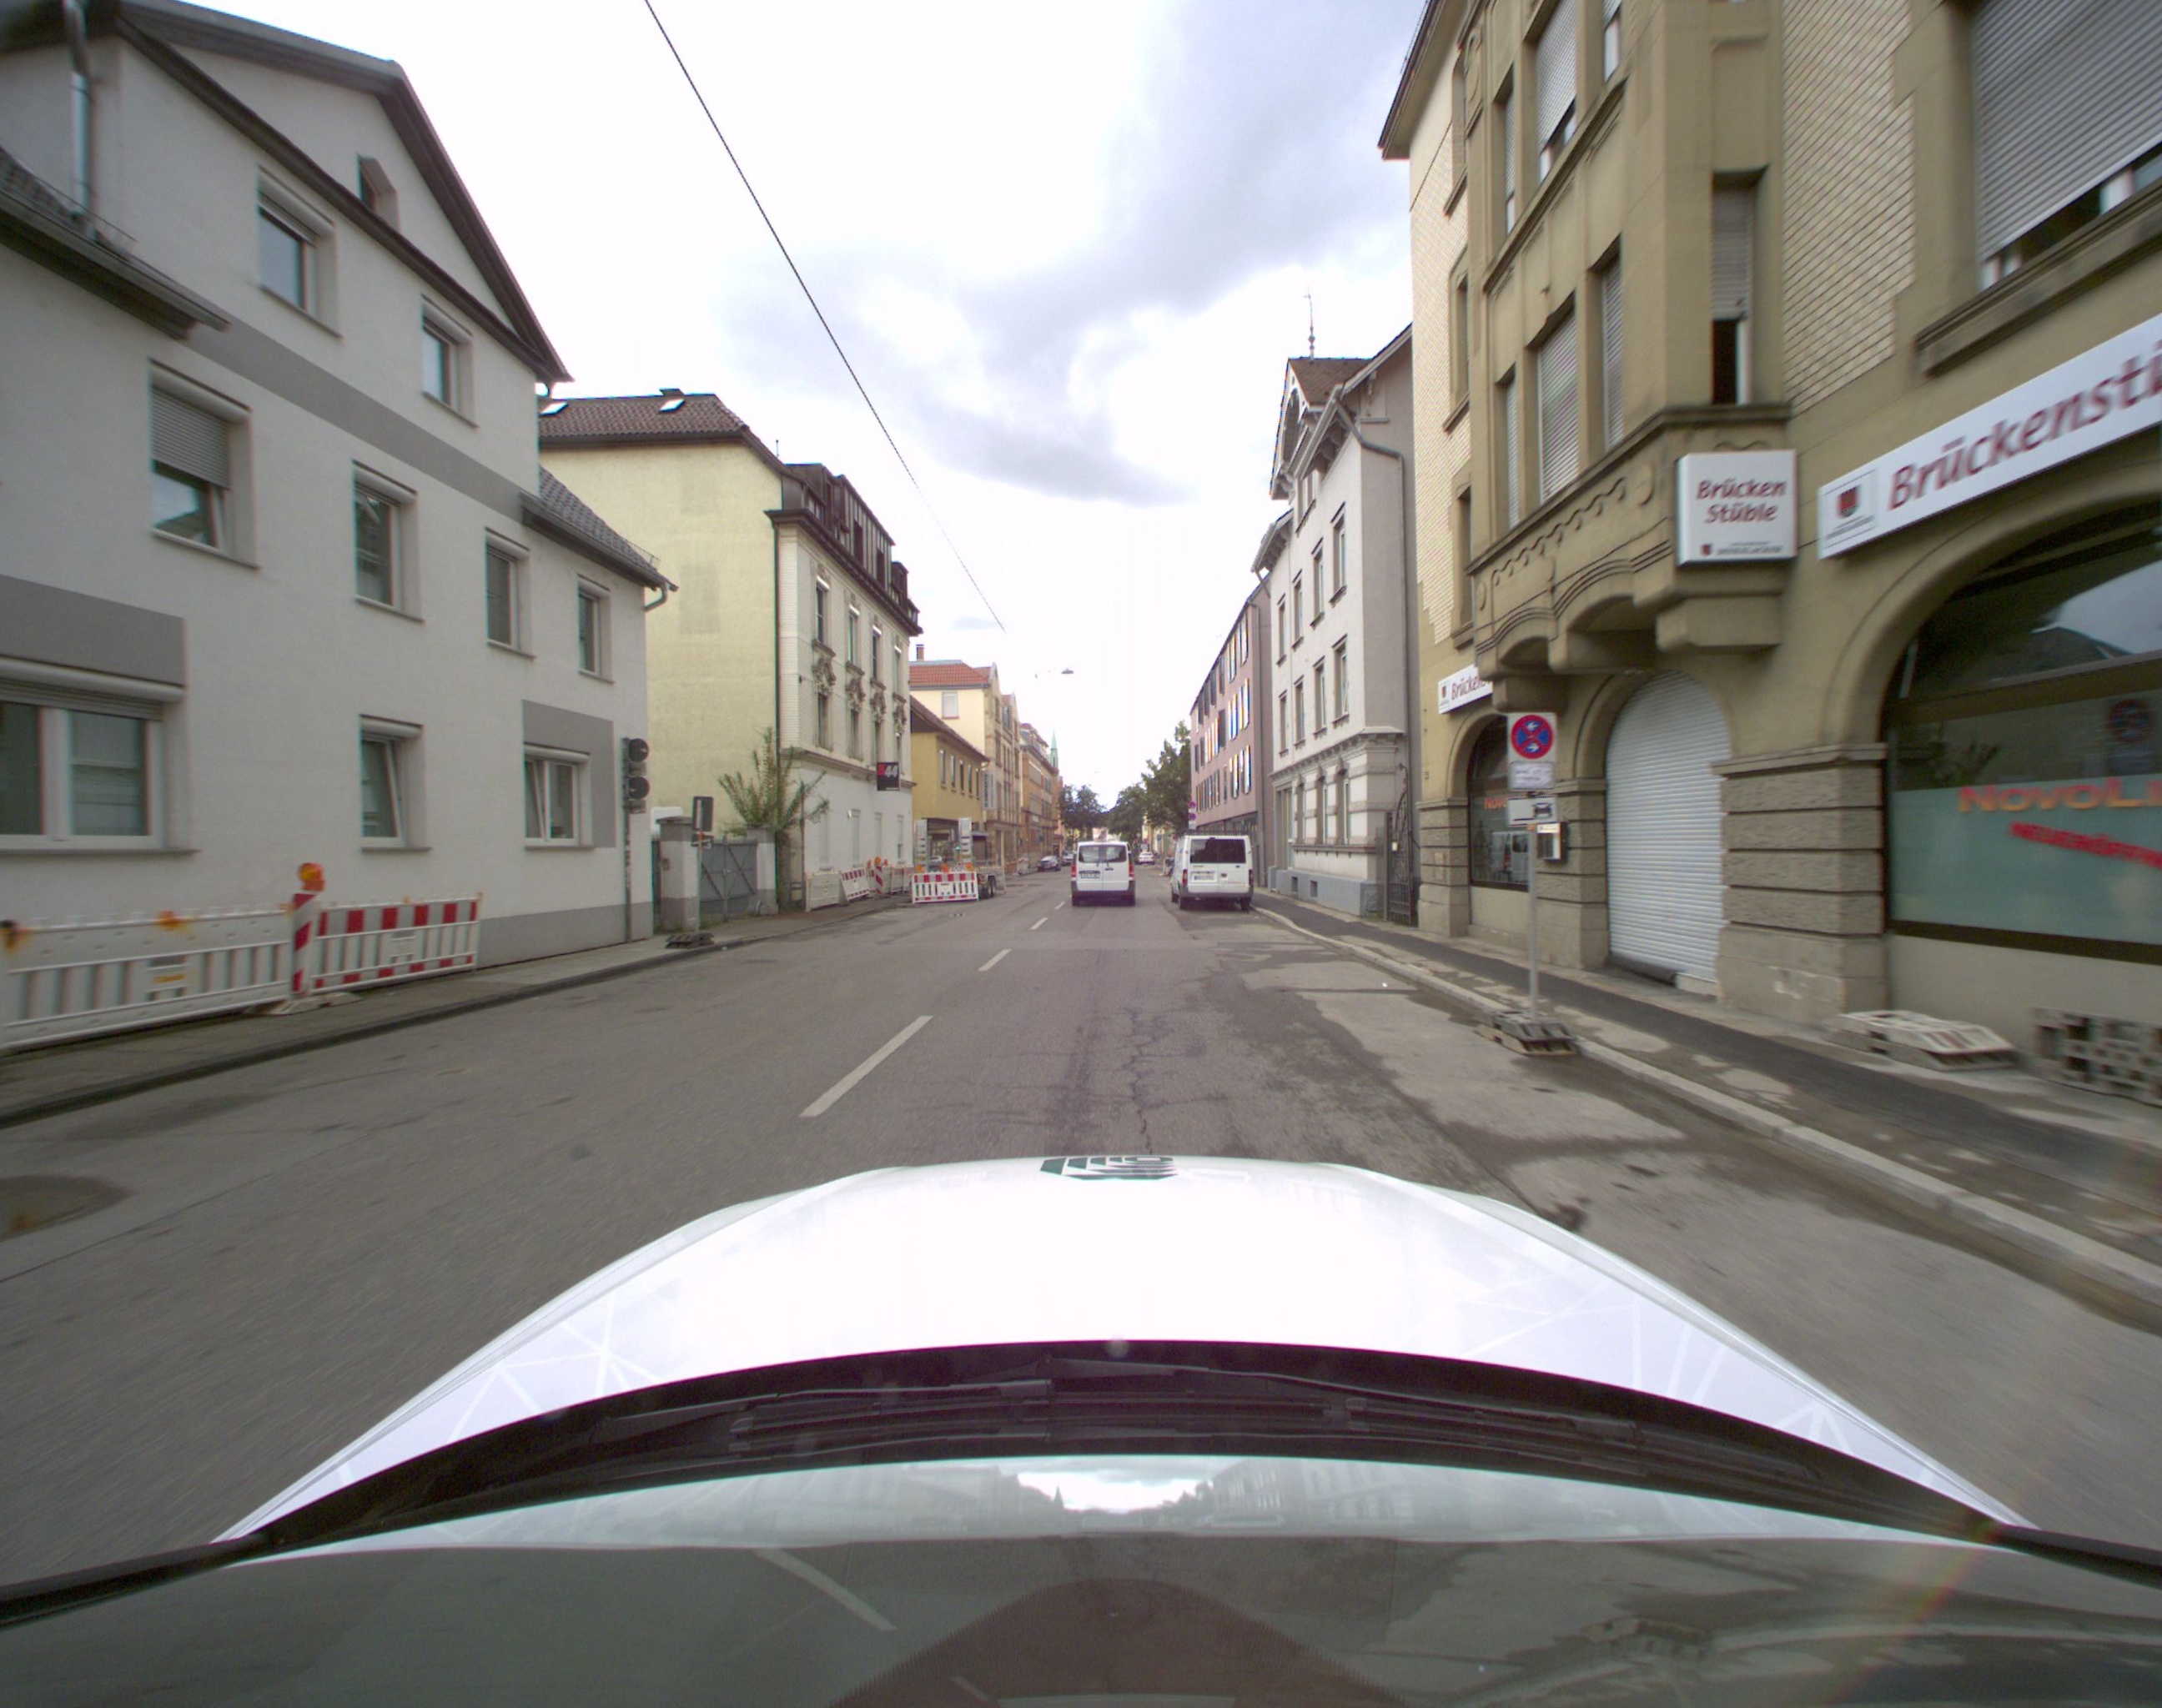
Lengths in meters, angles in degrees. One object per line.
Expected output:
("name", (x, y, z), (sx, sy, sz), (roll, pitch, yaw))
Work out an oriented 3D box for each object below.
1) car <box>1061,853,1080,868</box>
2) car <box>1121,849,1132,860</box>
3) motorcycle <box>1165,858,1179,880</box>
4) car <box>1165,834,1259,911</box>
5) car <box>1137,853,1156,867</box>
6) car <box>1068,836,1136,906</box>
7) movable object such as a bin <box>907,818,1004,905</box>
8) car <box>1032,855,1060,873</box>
("car", (-1.200, 0.720, 95.019), (1.986, 1.741, 4.002), (0, 0, 2))
("car", (9.326, 0.087, 165.949), (1.984, 2.014, 4.005), (-2, -1, 4))
("motorcycle", (5.206, 0.837, 46.490), (0.640, 1.246, 2.274), (-1, 0, 10))
("car", (3.708, 0.480, 23.961), (2.120, 2.005, 4.928), (0, 0, 2))
("car", (7.540, 0.702, 94.564), (1.986, 1.485, 4.002), (2, 0, 2))
("car", (0.718, 0.481, 25.261), (1.884, 1.929, 4.649), (-1, 0, 3))
("movable object such as a bin", (-4.438, 0.244, 29.648), (2.527, 2.825, 4.541), (-3, 0, 2))
("car", (-2.977, 0.829, 70.188), (1.986, 1.442, 4.002), (-2, 0, 2))
